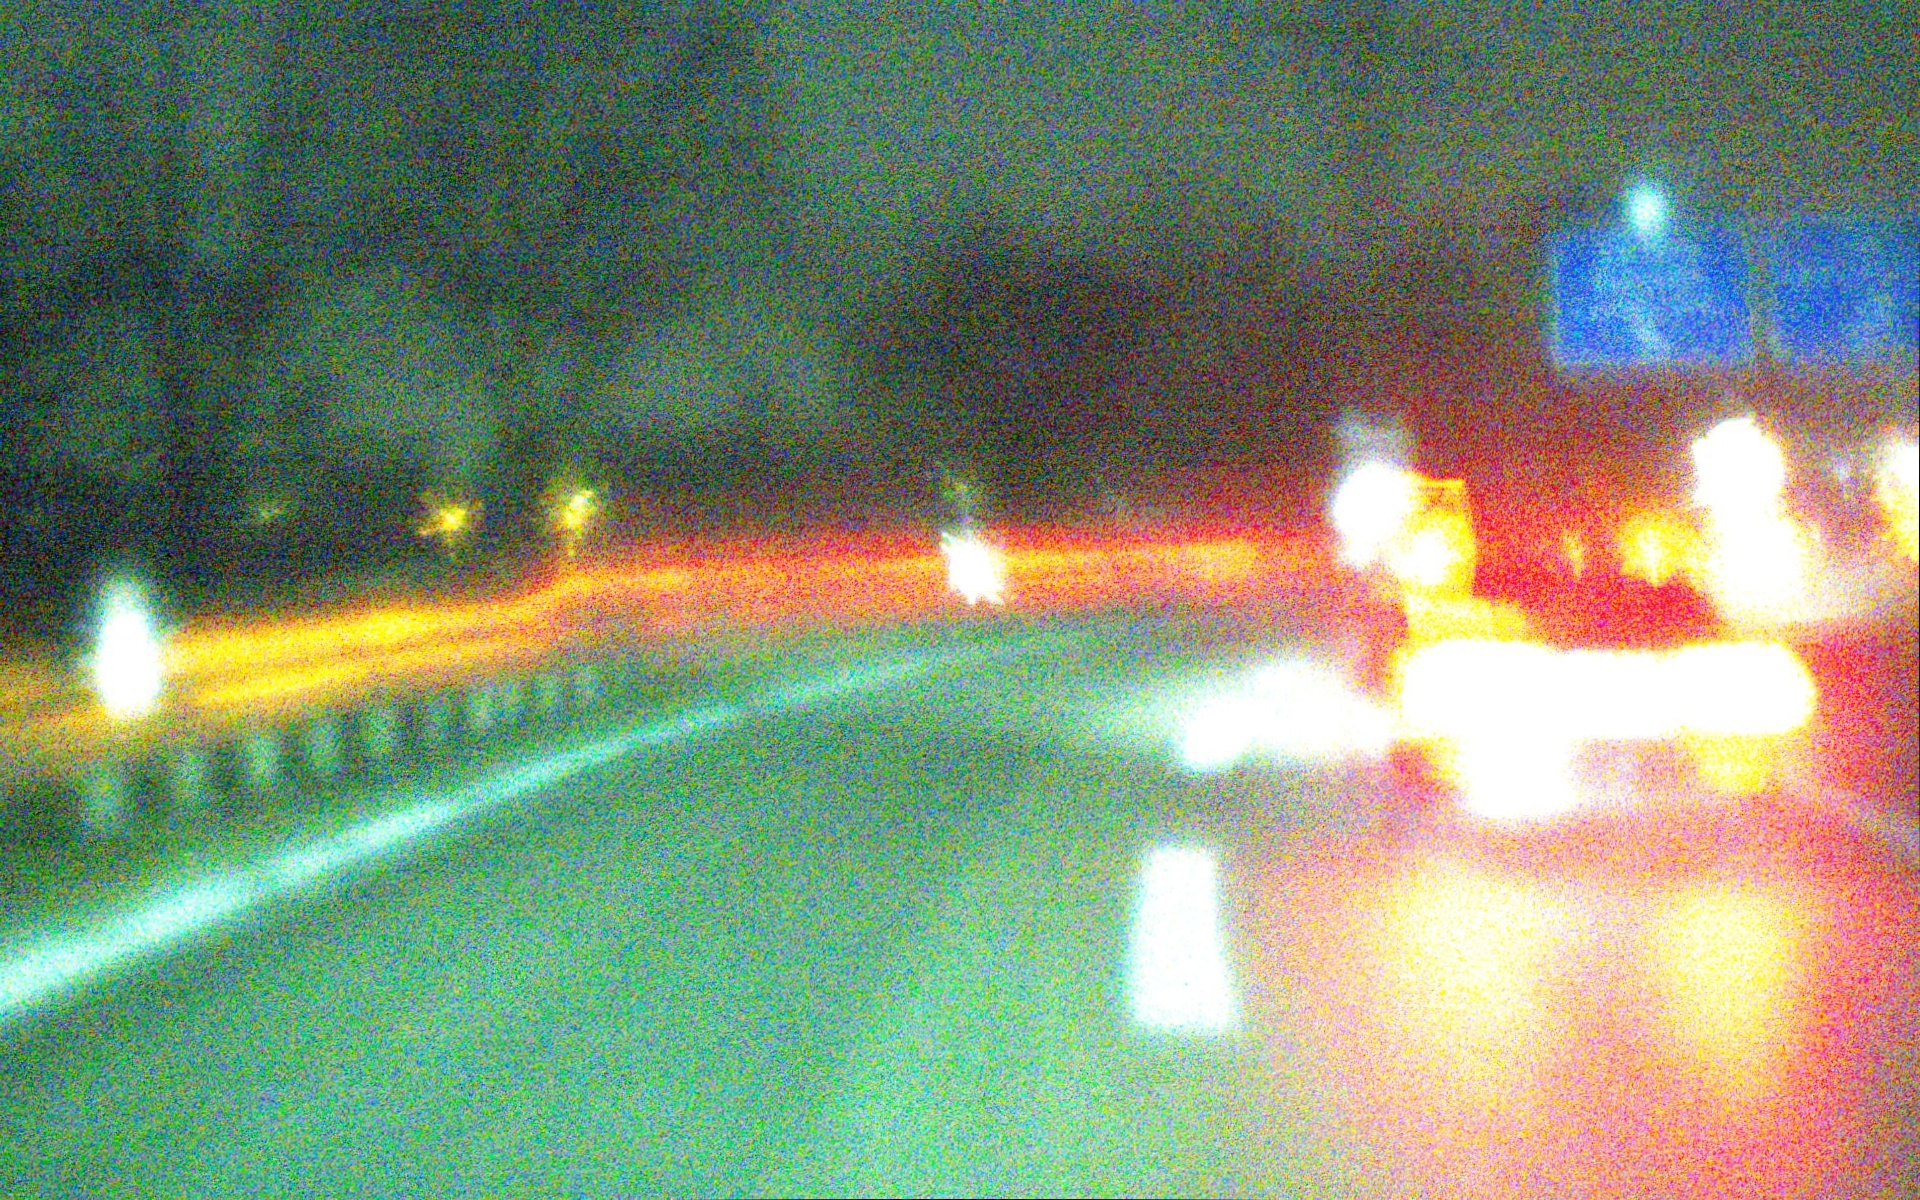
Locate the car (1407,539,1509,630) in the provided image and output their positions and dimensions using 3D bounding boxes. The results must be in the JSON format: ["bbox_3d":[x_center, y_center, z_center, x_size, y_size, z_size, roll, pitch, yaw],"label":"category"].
[{"bbox_3d":[9.698,-0.305,66.907,1.896,1.715,4.044,0,0,9],"label":"car"}]

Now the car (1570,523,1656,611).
[{"bbox_3d":[15.457,-0.780,81.227,1.896,2.033,4.043,0,1,12],"label":"car"}]

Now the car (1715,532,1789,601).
[{"bbox_3d":[23.359,-0.998,101.336,1.897,1.991,4.042,0,1,16],"label":"car"}]

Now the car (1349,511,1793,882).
[{"bbox_3d":[3.009,0.393,17.703,1.861,1.641,4.068,1,1,5],"label":"car"}]
